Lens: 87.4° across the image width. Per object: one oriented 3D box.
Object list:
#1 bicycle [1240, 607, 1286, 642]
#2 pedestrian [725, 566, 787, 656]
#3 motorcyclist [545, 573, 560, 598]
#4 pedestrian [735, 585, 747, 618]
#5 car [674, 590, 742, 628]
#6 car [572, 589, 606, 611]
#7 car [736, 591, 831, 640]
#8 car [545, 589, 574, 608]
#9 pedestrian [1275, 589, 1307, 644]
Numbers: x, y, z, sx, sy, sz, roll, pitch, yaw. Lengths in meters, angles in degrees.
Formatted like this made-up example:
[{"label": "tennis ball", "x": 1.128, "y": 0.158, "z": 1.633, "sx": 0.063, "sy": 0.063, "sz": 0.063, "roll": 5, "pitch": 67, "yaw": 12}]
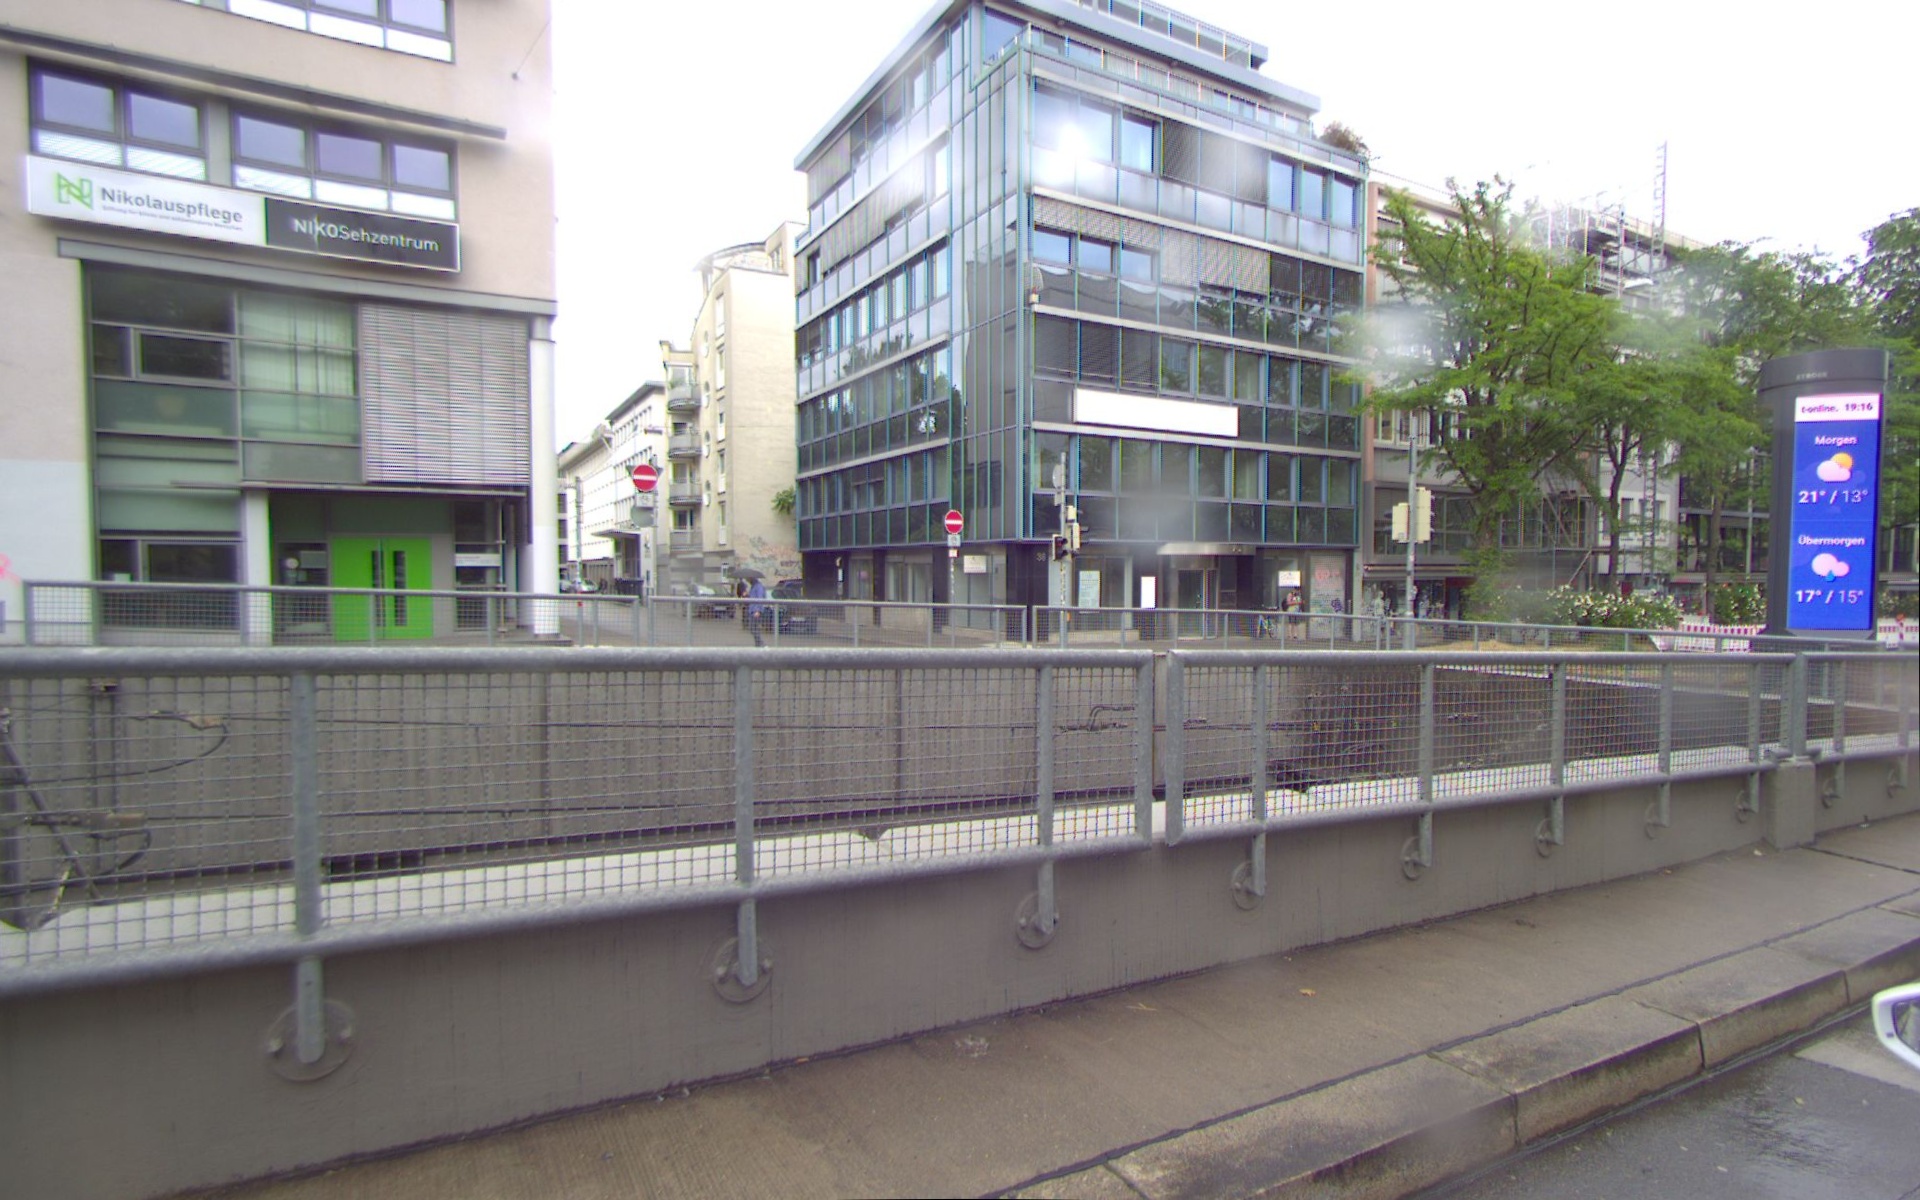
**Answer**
[{"label": "bicycle", "x": 9.866, "y": 0.802, "z": 32.722, "sx": 1.544, "sy": 1.100, "sz": 0.444, "roll": 1, "pitch": 1, "yaw": -27}, {"label": "pedestrian", "x": -4.369, "y": 0.227, "z": 21.489, "sx": 1.047, "sy": 1.863, "sz": 0.853, "roll": 1, "pitch": 2, "yaw": -30}, {"label": "motorcyclist", "x": -30.173, "y": -1.070, "z": 74.347, "sx": 0.850, "sy": 1.832, "sz": 1.007, "roll": 1, "pitch": 2, "yaw": -29}, {"label": "pedestrian", "x": -10.940, "y": 0.067, "z": 50.250, "sx": 0.443, "sy": 1.664, "sz": 0.326, "roll": 1, "pitch": 2, "yaw": -35}, {"label": "car", "x": -11.108, "y": 0.362, "z": 44.109, "sx": 1.777, "sy": 1.578, "sz": 3.966, "roll": 1, "pitch": 0, "yaw": -31}, {"label": "car", "x": -28.164, "y": -0.010, "z": 76.189, "sx": 1.777, "sy": 1.578, "sz": 3.967, "roll": 1, "pitch": 0, "yaw": -30}, {"label": "car", "x": -6.244, "y": 0.502, "z": 35.171, "sx": 1.977, "sy": 1.578, "sz": 3.966, "roll": 1, "pitch": 0, "yaw": -31}, {"label": "car", "x": -34.970, "y": -0.161, "z": 87.576, "sx": 1.777, "sy": 1.578, "sz": 3.967, "roll": 1, "pitch": 0, "yaw": -30}, {"label": "pedestrian", "x": 10.946, "y": 0.548, "z": 33.229, "sx": 0.688, "sy": 1.765, "sz": 0.691, "roll": 1, "pitch": 2, "yaw": -35}]
